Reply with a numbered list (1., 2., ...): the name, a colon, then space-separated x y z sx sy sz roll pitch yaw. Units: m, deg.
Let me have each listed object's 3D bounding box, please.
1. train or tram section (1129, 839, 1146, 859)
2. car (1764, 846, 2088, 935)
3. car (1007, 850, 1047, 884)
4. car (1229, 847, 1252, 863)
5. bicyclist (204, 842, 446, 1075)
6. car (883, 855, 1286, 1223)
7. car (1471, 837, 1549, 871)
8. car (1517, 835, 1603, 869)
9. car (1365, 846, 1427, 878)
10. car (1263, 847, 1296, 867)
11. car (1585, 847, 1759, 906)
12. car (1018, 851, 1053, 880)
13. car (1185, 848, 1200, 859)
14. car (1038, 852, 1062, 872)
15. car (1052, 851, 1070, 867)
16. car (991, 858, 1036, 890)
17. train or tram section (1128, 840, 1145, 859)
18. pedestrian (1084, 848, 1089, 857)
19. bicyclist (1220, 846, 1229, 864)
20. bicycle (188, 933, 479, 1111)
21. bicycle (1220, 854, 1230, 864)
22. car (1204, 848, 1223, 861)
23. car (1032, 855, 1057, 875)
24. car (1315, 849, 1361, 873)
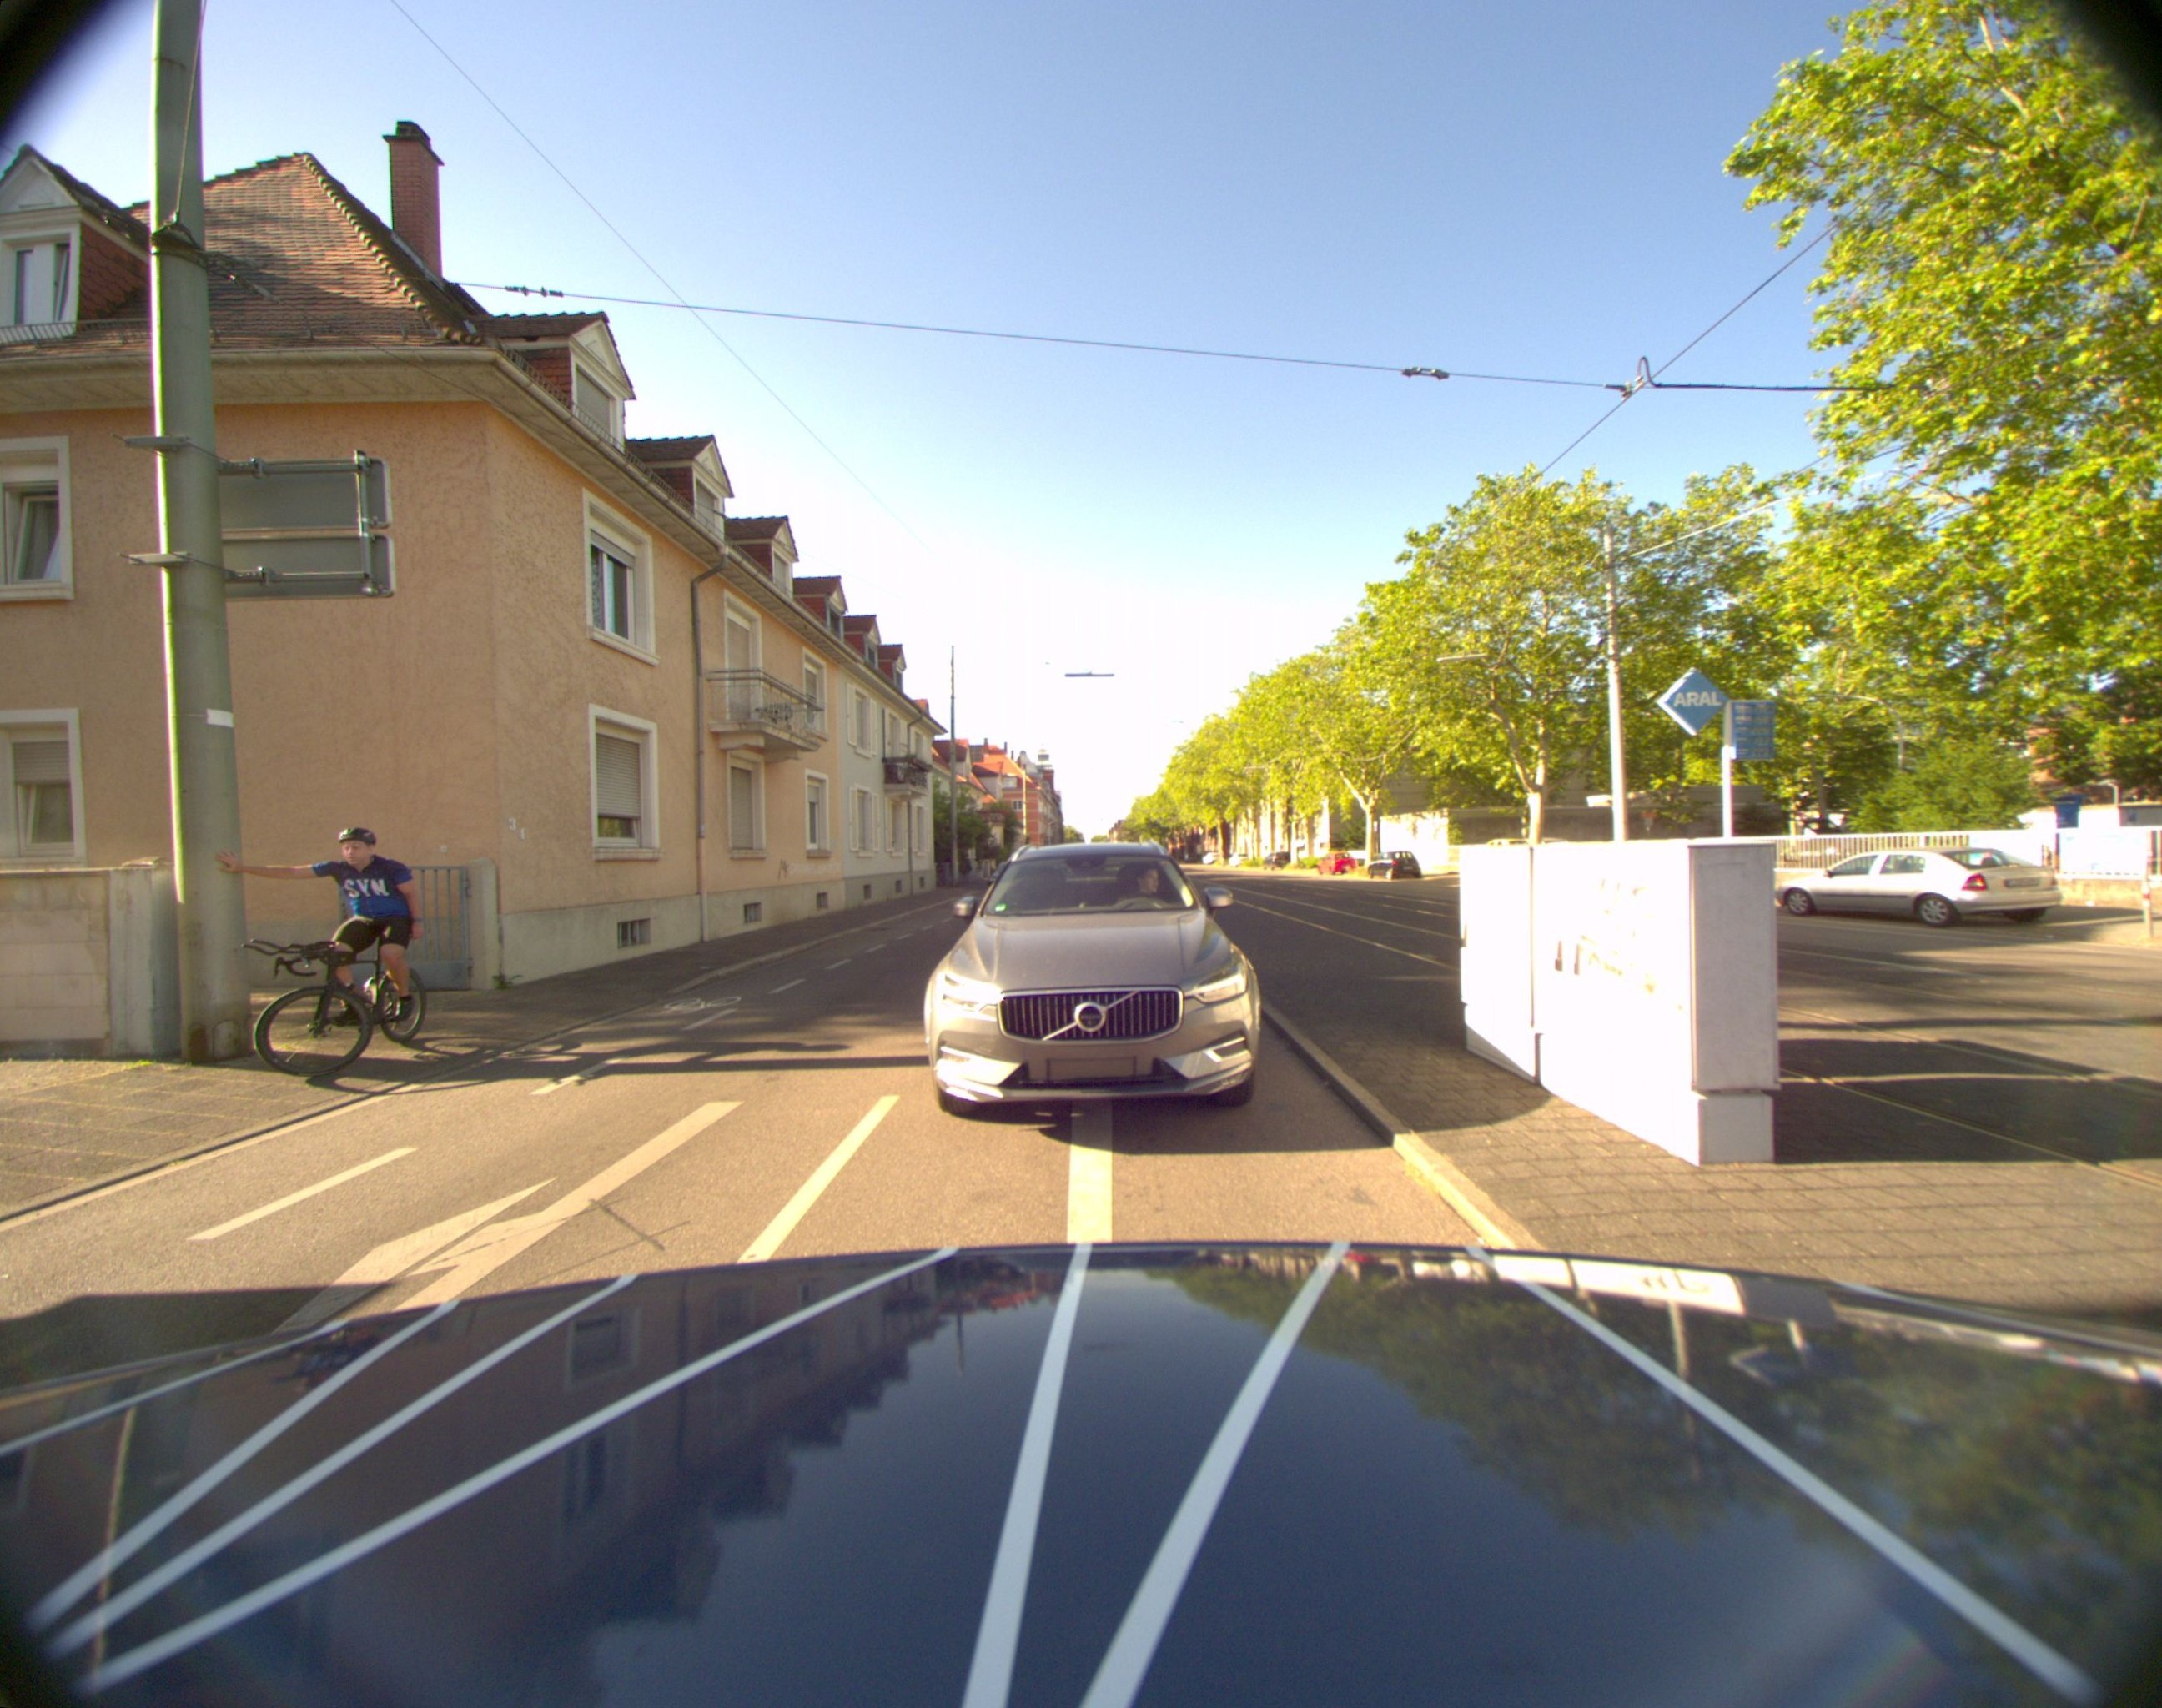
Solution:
1. train or tram section: 10.320 -0.892 138.625 2.861 3.456 10.185 -1 0 3
2. car: 16.235 0.612 14.974 1.846 1.400 3.999 -4 0 -1
3. car: -2.942 0.675 42.308 1.847 1.742 4.144 -1 0 0
4. car: 17.491 0.106 83.541 1.845 1.664 4.098 -4 0 3
5. bicyclist: -6.173 0.803 6.269 1.071 1.728 0.853 4 1 1
6. car: 0.000 0.882 5.785 1.892 1.695 4.318 -1 0 -1
7. car: 21.749 -0.034 38.711 1.845 1.524 4.001 -4 0 4
8. car: 24.043 -0.117 38.333 1.845 1.524 4.000 -4 0 2
9. car: 16.966 0.401 41.084 1.845 1.524 4.001 -4 0 4
10. car: 17.171 0.243 65.893 1.845 1.607 4.098 -4 0 3
11. car: 16.517 0.562 21.547 1.845 1.400 4.138 -4 0 4
12. car: -2.775 0.658 46.756 1.847 1.681 4.000 -1 0 0
13. car: 18.370 -0.023 125.407 1.845 1.664 4.098 -4 0 3
14. car: -2.675 0.682 65.766 1.847 1.681 4.000 -1 0 0
15. car: -2.243 0.536 85.481 1.999 1.641 4.658 -1 0 -1
16. car: -3.230 0.936 36.973 1.847 1.412 3.999 -1 0 -1
17. train or tram section: 10.743 -0.983 148.798 2.843 3.456 10.183 -2 1 2
18. pedestrian: 1.233 -0.283 165.361 1.104 2.002 1.242 -2 1 1
19. bicyclist: 15.112 0.074 79.864 0.720 1.853 1.071 -1 1 0
20. bicycle: -5.929 1.269 6.192 0.594 1.045 1.720 4 0 1
21. bicycle: 15.118 0.517 79.833 0.654 1.114 2.533 -1 0 1
22. car: 17.596 0.062 100.903 1.845 1.664 4.098 -4 0 3
23. car: -2.879 0.848 60.403 1.808 1.402 3.999 -1 0 -1
24. car: 16.962 0.437 50.308 1.845 1.400 4.000 -4 0 3
